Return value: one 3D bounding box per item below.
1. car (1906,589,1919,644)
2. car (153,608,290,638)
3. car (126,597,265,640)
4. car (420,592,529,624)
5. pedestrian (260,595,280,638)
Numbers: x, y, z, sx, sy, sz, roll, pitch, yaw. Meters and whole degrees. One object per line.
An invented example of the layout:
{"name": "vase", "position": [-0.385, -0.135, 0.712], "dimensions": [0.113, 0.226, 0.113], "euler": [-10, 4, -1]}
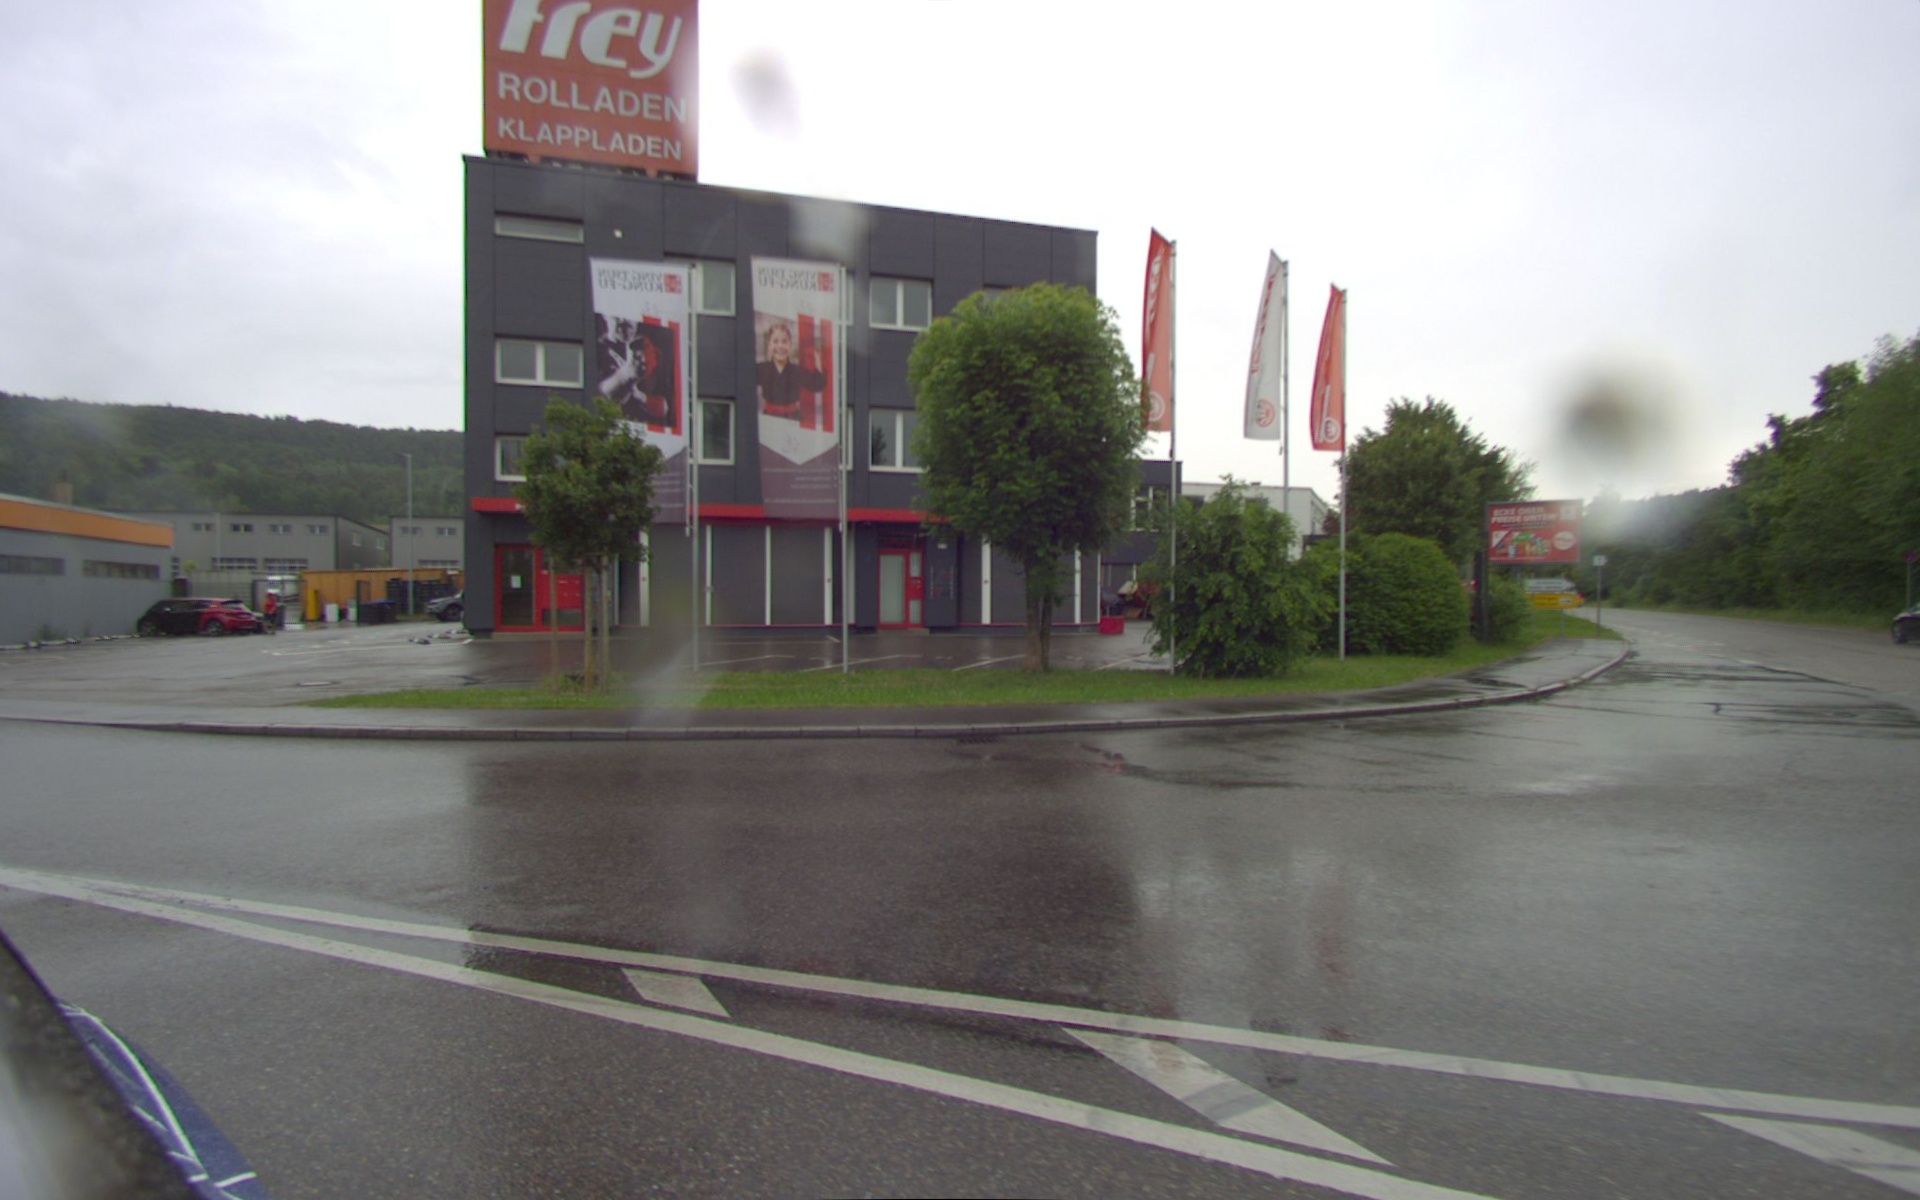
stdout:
{"name": "car", "position": [27.428, 0.460, 27.366], "dimensions": [1.828, 1.535, 3.959], "euler": [-1, 0, 30]}
{"name": "car", "position": [-30.226, 0.926, 41.535], "dimensions": [4.132, 1.169, 1.935], "euler": [-1, 0, -6]}
{"name": "car", "position": [-29.422, 0.713, 39.041], "dimensions": [3.945, 1.587, 1.923], "euler": [-1, 0, 1]}
{"name": "car", "position": [-22.091, 0.346, 46.118], "dimensions": [4.129, 1.397, 2.004], "euler": [0, 0, -38]}
{"name": "pedestrian", "position": [-27.064, 0.651, 39.720], "dimensions": [0.424, 1.684, 0.705], "euler": [0, 0, -15]}
